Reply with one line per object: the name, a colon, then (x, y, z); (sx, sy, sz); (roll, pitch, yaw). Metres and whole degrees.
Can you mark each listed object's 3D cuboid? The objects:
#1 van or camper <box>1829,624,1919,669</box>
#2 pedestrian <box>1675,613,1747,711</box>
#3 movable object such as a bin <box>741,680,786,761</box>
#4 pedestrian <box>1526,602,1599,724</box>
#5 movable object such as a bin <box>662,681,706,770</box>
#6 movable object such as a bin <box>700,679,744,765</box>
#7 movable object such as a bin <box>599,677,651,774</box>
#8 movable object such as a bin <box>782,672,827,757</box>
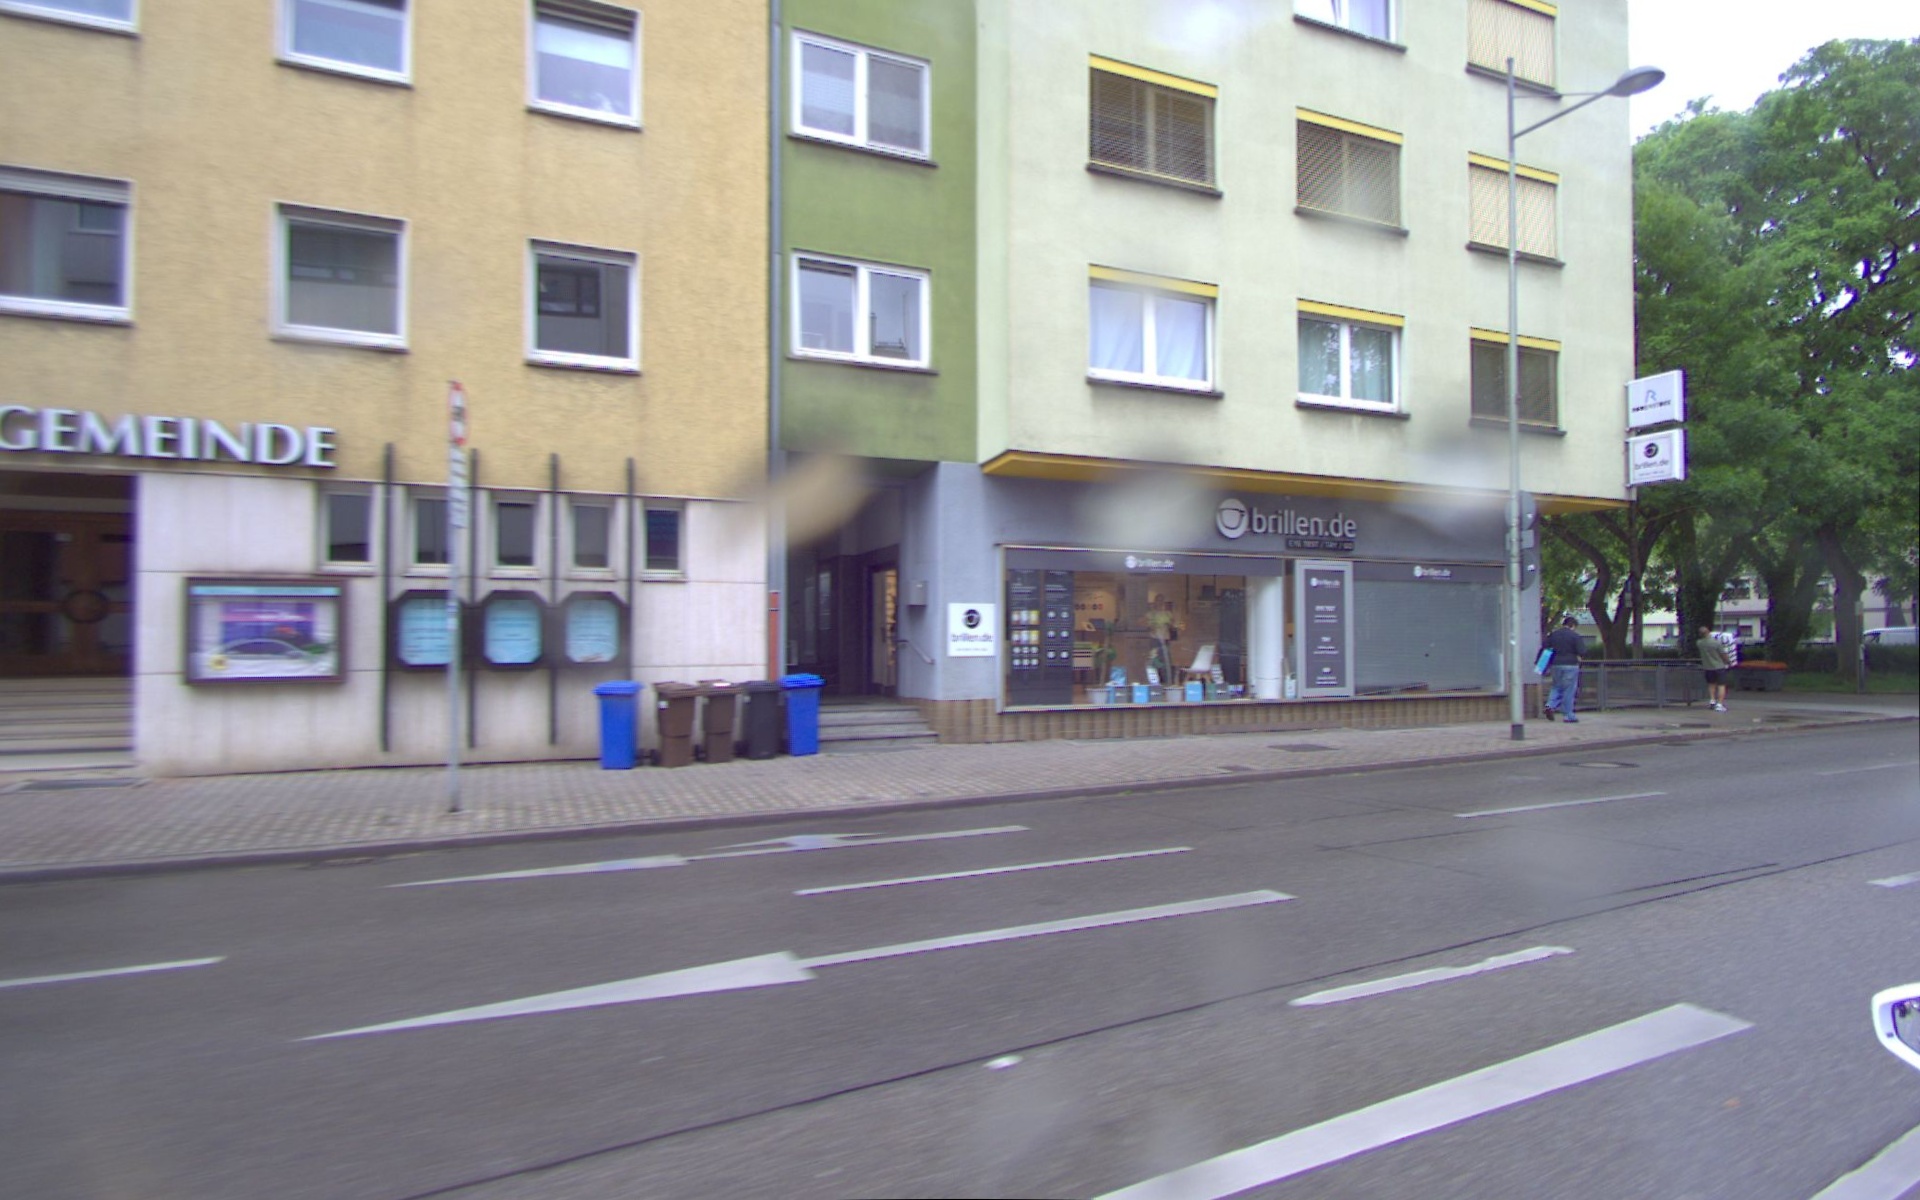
van or camper: (42.380, 2.073, 45.213); (1.977, 1.975, 4.574); (1, -2, -31)
pedestrian: (15.254, 1.244, 20.414); (0.907, 1.950, 0.815); (1, -2, -25)
movable object such as a bin: (-2.398, 1.453, 12.224); (0.428, 0.907, 0.527); (1, 2, -22)
pedestrian: (10.410, 1.079, 17.368); (0.771, 2.040, 0.749); (1, -2, -23)
movable object such as a bin: (-3.188, 1.438, 11.599); (0.422, 0.940, 0.463); (1, 2, -22)
movable object such as a bin: (-2.828, 1.435, 11.935); (0.420, 0.940, 0.526); (1, 2, -22)
movable object such as a bin: (-3.803, 1.404, 11.387); (0.516, 1.014, 0.515); (1, 2, -22)
movable object such as a bin: (-1.944, 1.416, 12.535); (0.428, 0.973, 0.527); (1, 2, -22)
